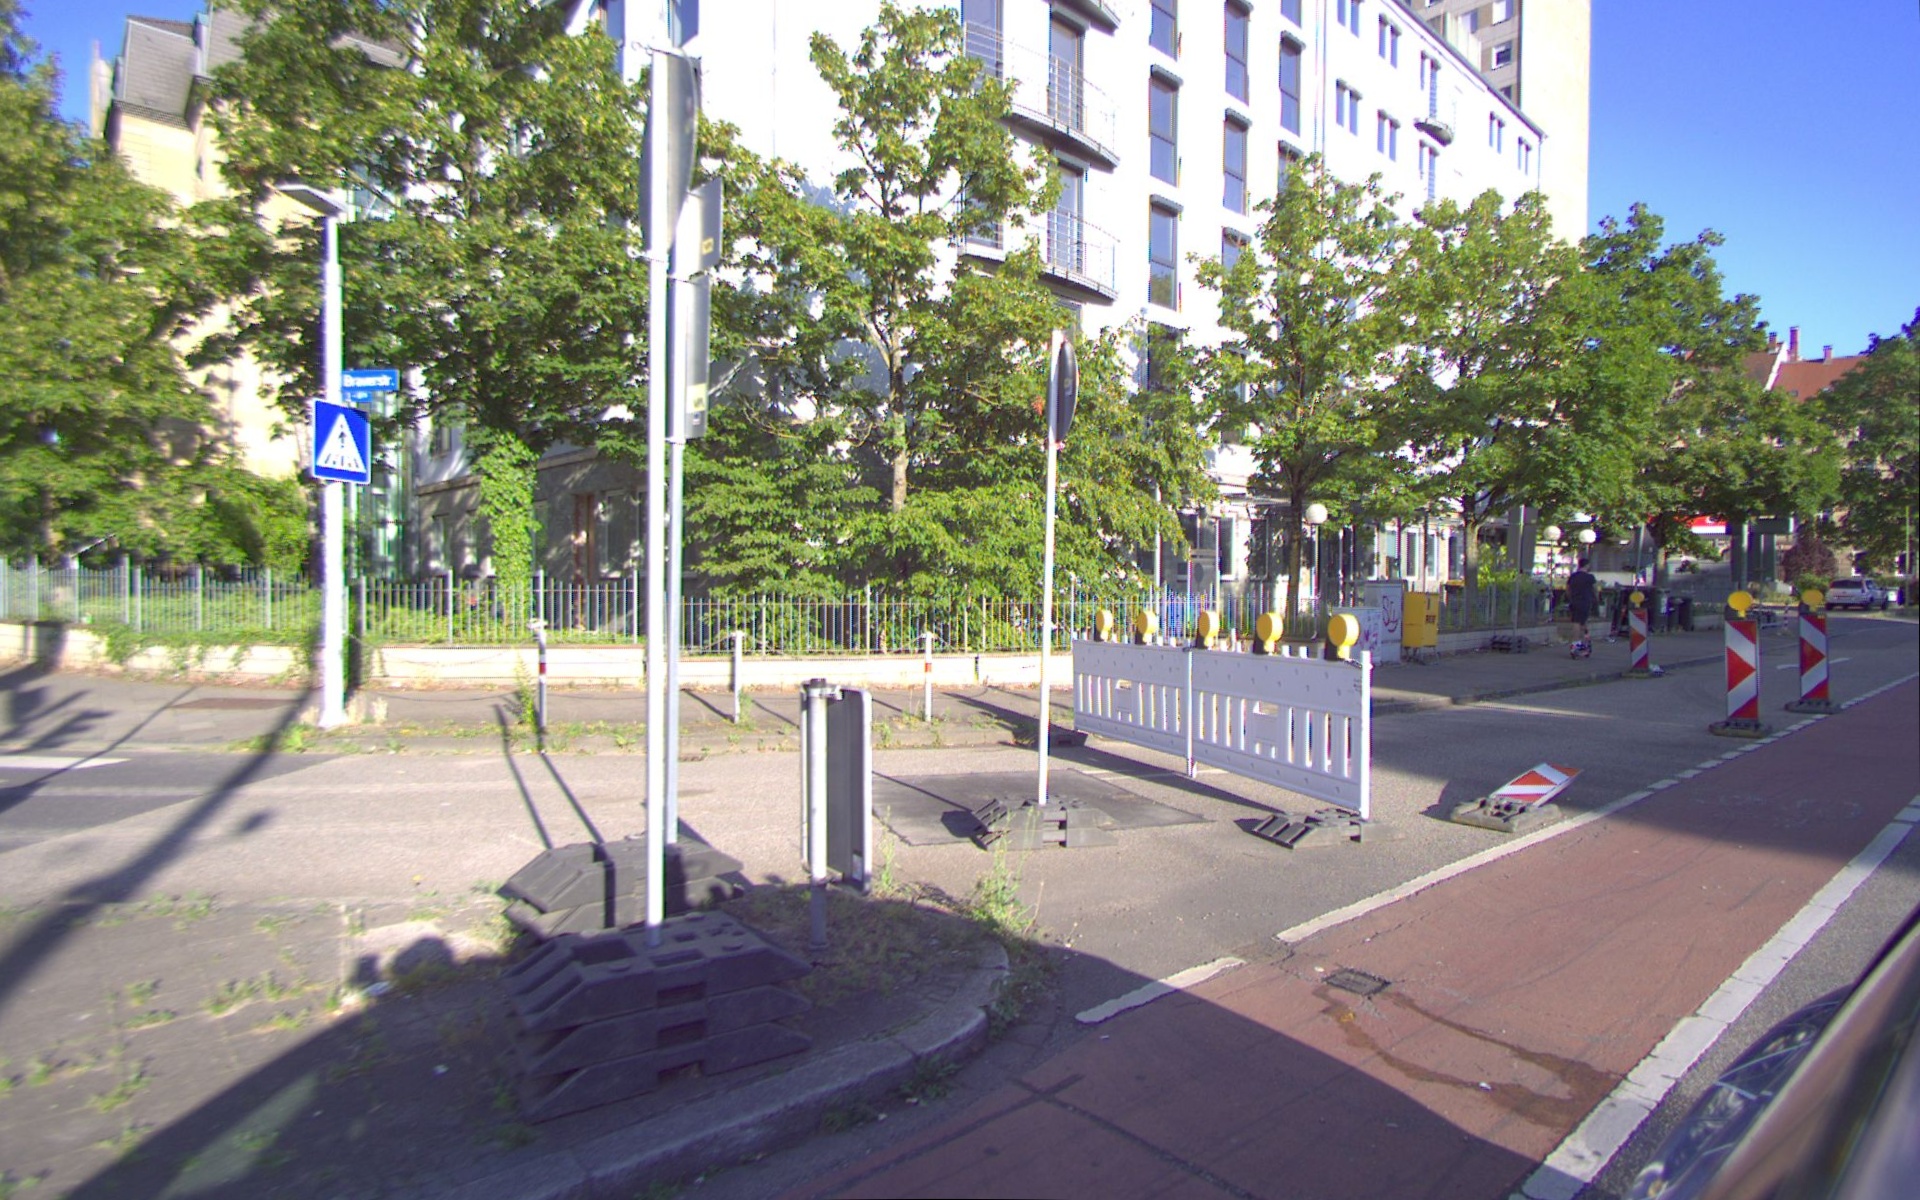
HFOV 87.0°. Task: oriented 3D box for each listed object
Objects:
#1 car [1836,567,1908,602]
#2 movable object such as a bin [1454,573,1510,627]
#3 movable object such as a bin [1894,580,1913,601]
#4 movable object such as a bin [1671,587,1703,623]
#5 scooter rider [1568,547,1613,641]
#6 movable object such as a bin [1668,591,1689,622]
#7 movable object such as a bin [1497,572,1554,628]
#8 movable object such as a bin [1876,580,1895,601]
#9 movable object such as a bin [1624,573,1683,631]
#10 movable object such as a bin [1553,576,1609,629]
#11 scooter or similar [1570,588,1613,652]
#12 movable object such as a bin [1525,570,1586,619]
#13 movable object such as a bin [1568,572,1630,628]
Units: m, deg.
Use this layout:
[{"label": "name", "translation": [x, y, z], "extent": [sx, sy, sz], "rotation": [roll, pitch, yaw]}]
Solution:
[{"label": "car", "translation": [43.246, -0.755, 47.980], "extent": [3.819, 1.613, 1.625], "rotation": [-1, 2, -34]}, {"label": "movable object such as a bin", "translation": [14.736, -0.018, 28.561], "extent": [0.939, 1.503, 1.128], "rotation": [-1, 1, -40]}, {"label": "movable object such as a bin", "translation": [46.889, -0.467, 50.280], "extent": [0.661, 1.042, 0.573], "rotation": [-1, 1, -37]}, {"label": "movable object such as a bin", "translation": [21.778, 0.137, 30.302], "extent": [0.605, 1.059, 0.621], "rotation": [-1, 1, -38]}, {"label": "scooter rider", "translation": [12.451, -0.128, 19.996], "extent": [0.478, 1.812, 0.616], "rotation": [-1, 1, -38]}, {"label": "movable object such as a bin", "translation": [21.286, 0.185, 29.976], "extent": [0.482, 0.918, 0.393], "rotation": [-1, 1, -39]}, {"label": "movable object such as a bin", "translation": [15.463, -0.023, 27.661], "extent": [0.940, 1.503, 1.105], "rotation": [-1, 2, -41]}, {"label": "movable object such as a bin", "translation": [46.327, -0.485, 50.663], "extent": [0.661, 1.042, 0.573], "rotation": [-1, 1, -37]}, {"label": "movable object such as a bin", "translation": [19.565, 0.031, 28.536], "extent": [1.233, 1.526, 1.095], "rotation": [-4, 3, -40]}, {"label": "movable object such as a bin", "translation": [16.553, 0.040, 26.955], "extent": [1.209, 1.361, 1.042], "rotation": [1, 1, 35]}, {"label": "scooter or similar", "translation": [12.501, 0.384, 20.026], "extent": [1.228, 1.209, 0.331], "rotation": [-1, 1, -40]}, {"label": "movable object such as a bin", "translation": [18.258, -0.182, 31.025], "extent": [1.255, 1.438, 1.199], "rotation": [1, 2, -38]}, {"label": "movable object such as a bin", "translation": [17.818, -0.012, 28.217], "extent": [1.325, 1.503, 1.193], "rotation": [1, 2, 40]}]
